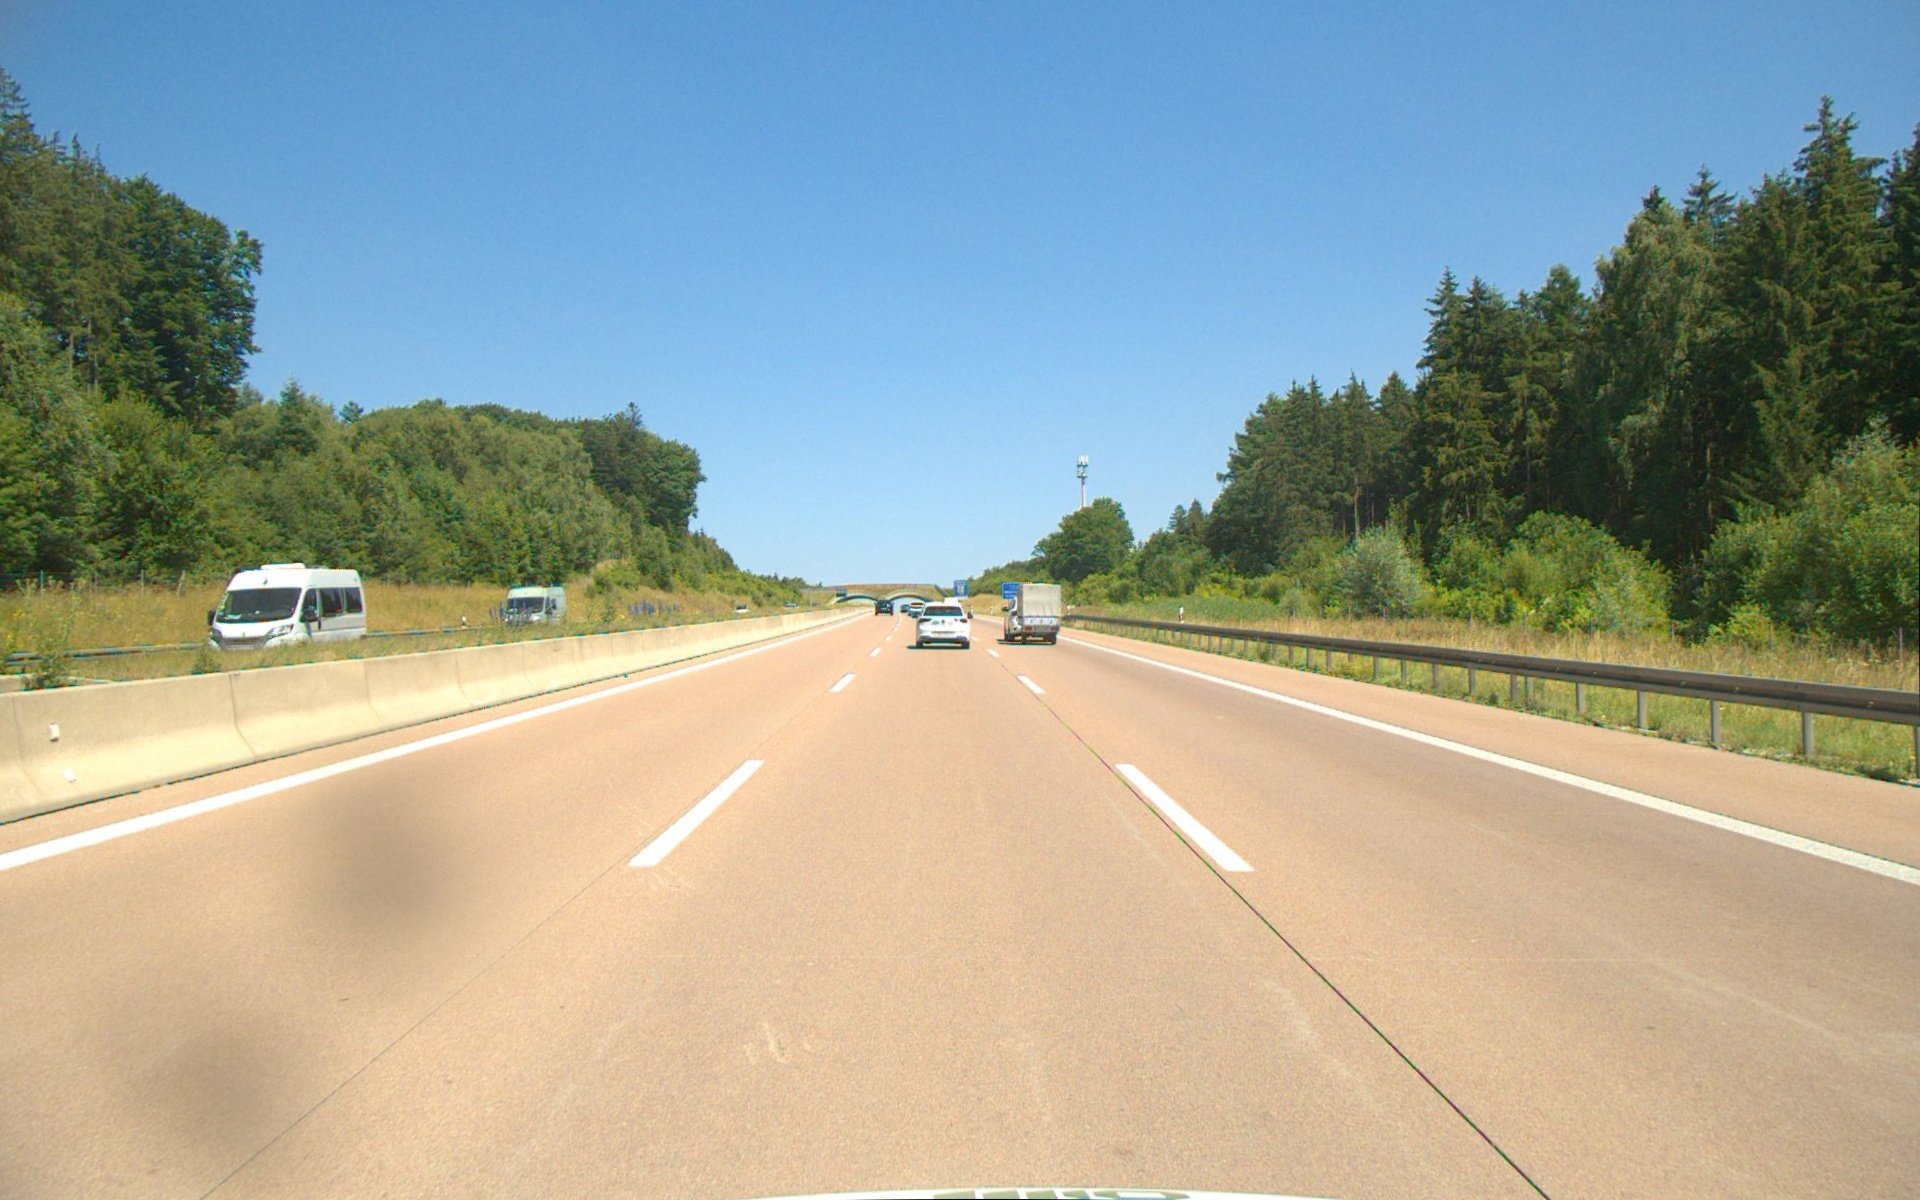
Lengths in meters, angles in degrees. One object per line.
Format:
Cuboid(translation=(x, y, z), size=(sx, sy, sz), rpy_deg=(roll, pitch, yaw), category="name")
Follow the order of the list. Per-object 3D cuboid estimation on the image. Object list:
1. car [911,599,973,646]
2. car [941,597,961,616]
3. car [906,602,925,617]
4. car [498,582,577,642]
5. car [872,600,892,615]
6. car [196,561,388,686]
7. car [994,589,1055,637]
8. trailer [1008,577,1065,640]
Cuboid(translation=(-0.604, 0.710, 53.109), size=(1.853, 1.422, 3.998), rpy_deg=(1, 0, -2), category="car")
Cuboid(translation=(-0.942, 0.691, 177.749), size=(2.067, 2.090, 4.000), rpy_deg=(0, 0, 0), category="car")
Cuboid(translation=(-4.460, 0.933, 165.452), size=(1.852, 1.489, 3.999), rpy_deg=(1, 0, -2), category="car")
Cuboid(translation=(-20.055, 0.523, 78.826), size=(2.188, 2.733, 6.885), rpy_deg=(0, 0, -2), category="car")
Cuboid(translation=(-7.992, 0.727, 169.617), size=(1.852, 1.489, 4.000), rpy_deg=(0, 0, 0), category="car")
Cuboid(translation=(-15.617, 0.503, 39.104), size=(2.188, 2.733, 6.096), rpy_deg=(0, 0, -2), category="car")
Cuboid(translation=(2.444, 0.503, 63.706), size=(1.853, 1.758, 5.182), rpy_deg=(0, 0, -3), category="car")
Cuboid(translation=(2.701, 0.308, 59.170), size=(1.624, 2.202, 4.013), rpy_deg=(0, 0, -3), category="trailer")
